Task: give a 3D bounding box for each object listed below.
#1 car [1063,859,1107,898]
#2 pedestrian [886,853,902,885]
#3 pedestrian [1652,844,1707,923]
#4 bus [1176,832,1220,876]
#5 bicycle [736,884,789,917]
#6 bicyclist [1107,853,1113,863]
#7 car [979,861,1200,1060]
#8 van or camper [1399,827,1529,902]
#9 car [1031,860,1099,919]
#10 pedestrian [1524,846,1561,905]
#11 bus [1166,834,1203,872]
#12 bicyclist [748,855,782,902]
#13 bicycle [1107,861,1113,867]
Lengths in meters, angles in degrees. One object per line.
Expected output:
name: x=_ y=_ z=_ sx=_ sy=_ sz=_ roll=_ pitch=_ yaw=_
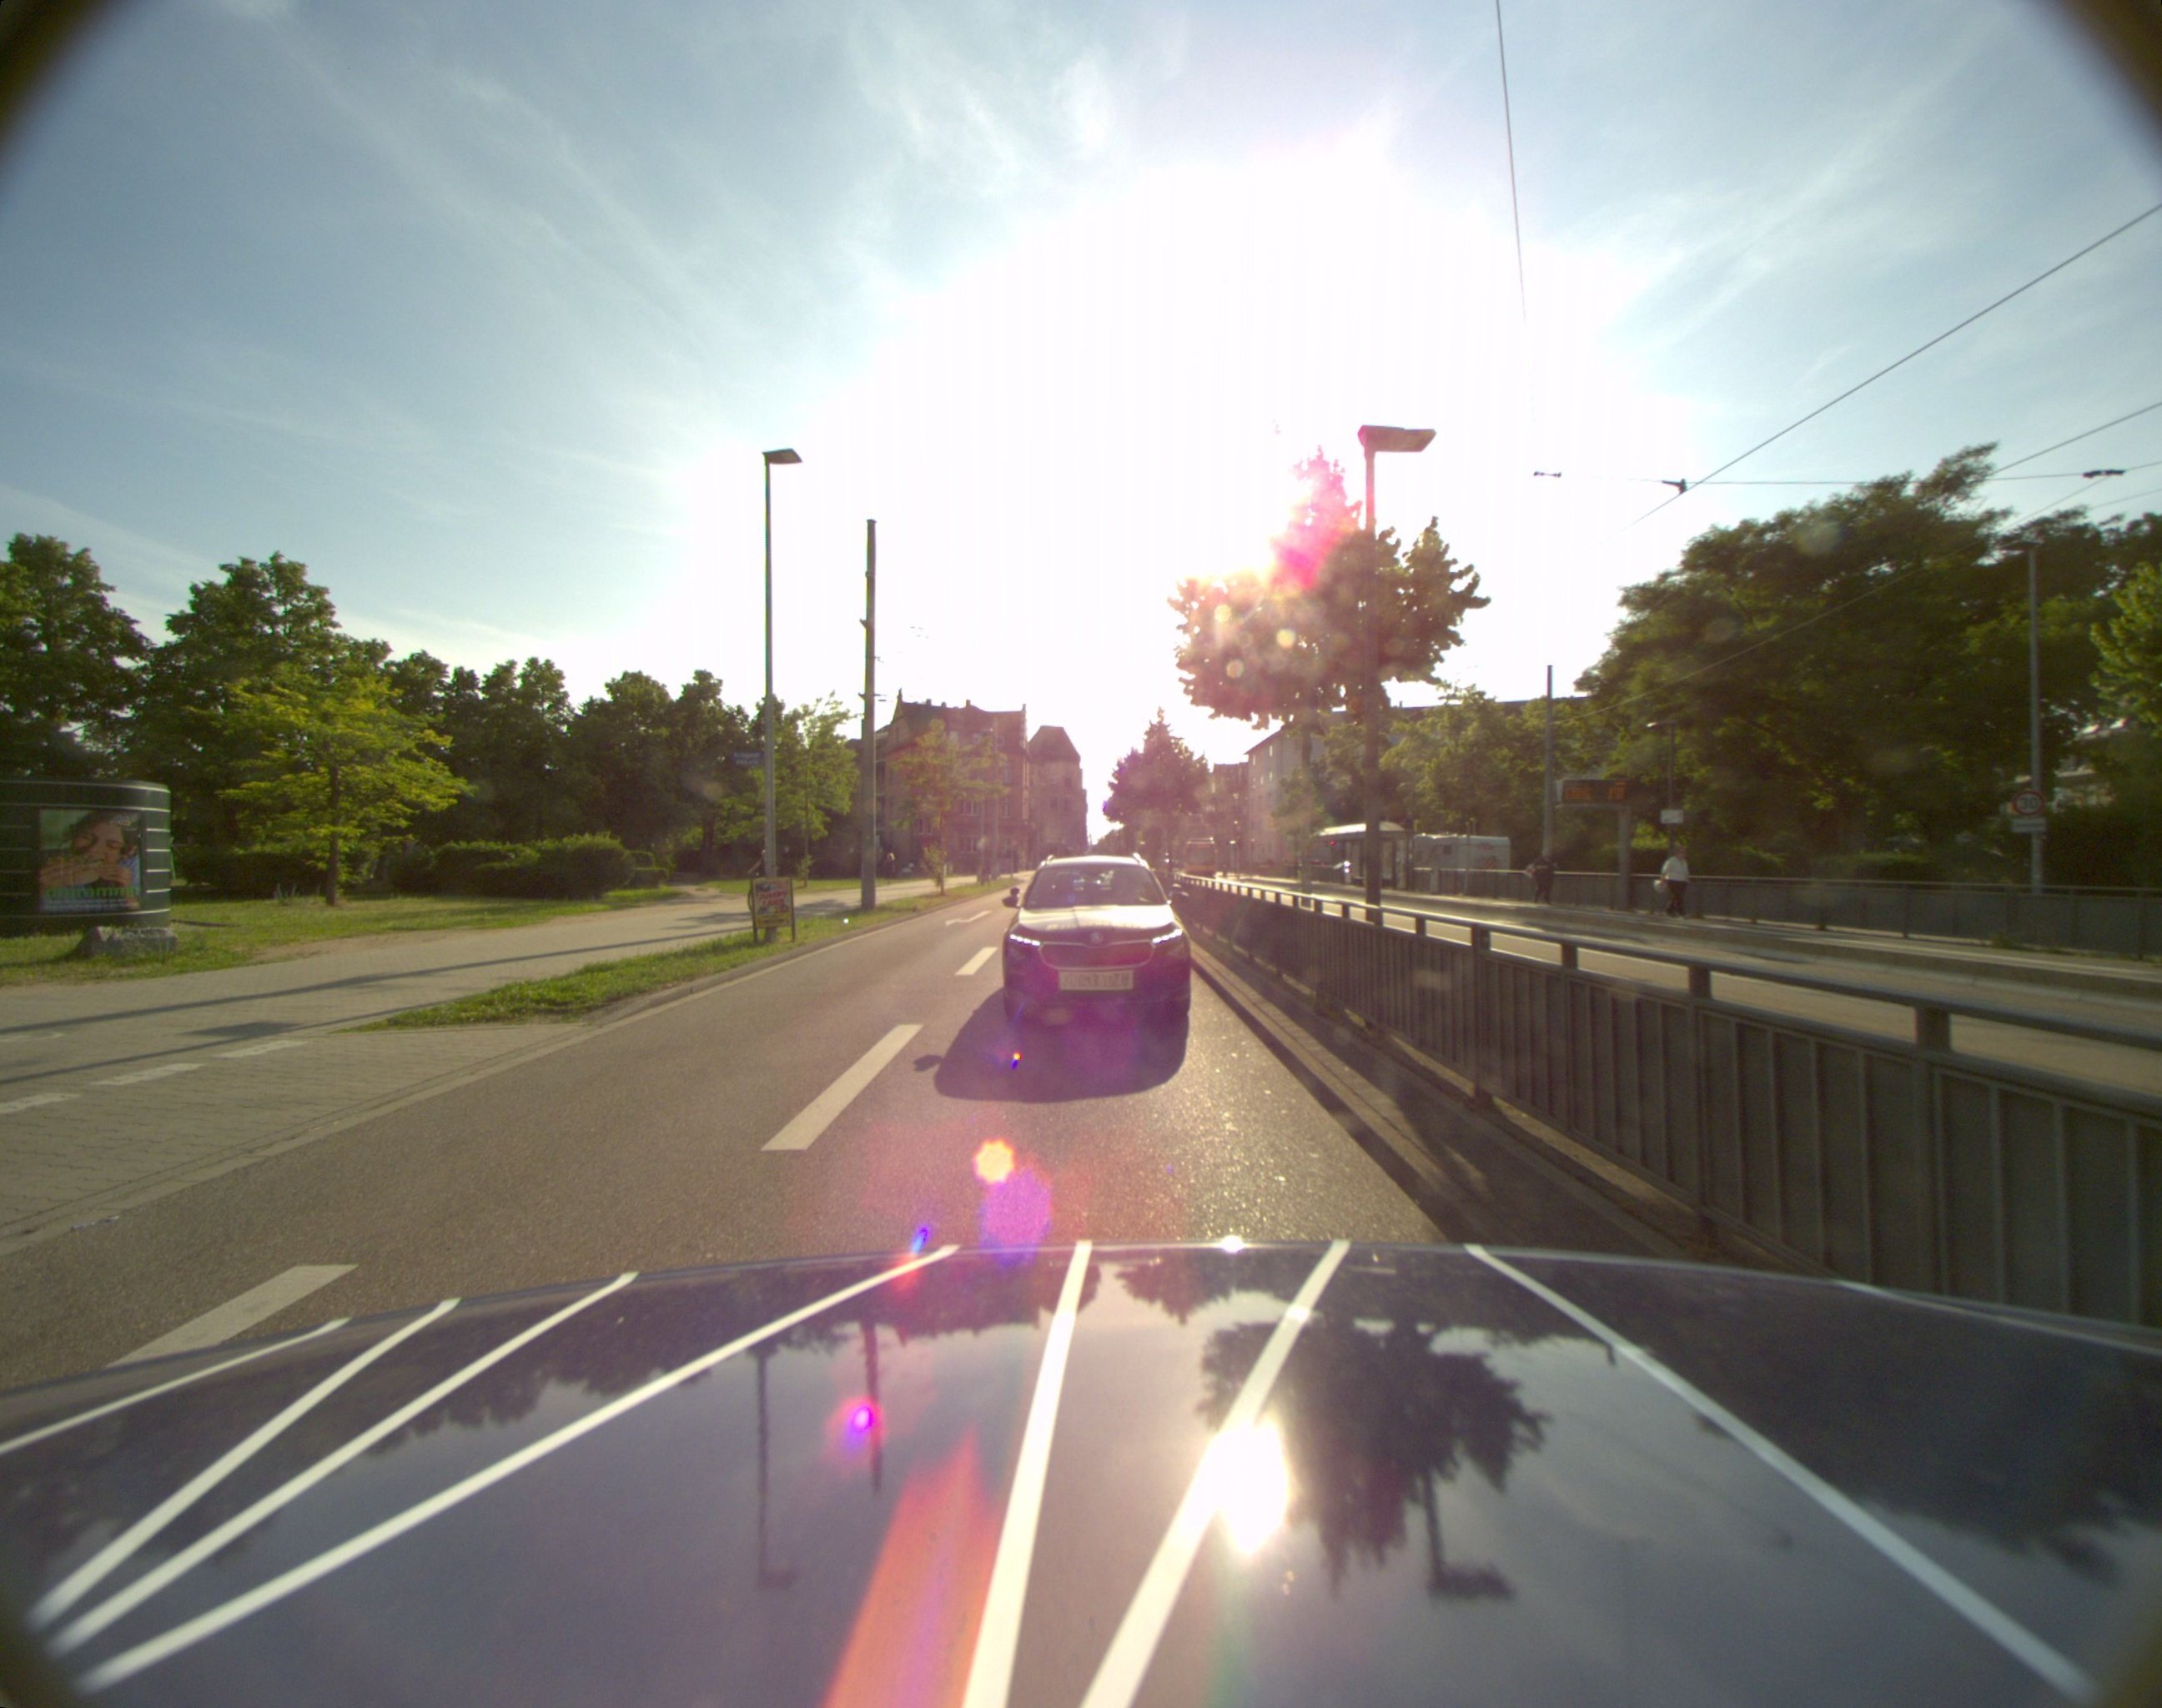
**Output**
car: x=0.205 y=1.033 z=33.376 sx=1.756 sy=1.534 sz=4.235 roll=-2 pitch=0 yaw=1
pedestrian: x=-9.729 y=0.774 z=39.628 sx=0.621 sy=1.675 sz=0.618 roll=-2 pitch=1 yaw=1
pedestrian: x=13.079 y=0.633 z=16.618 sx=0.621 sy=1.675 sz=0.618 roll=3 pitch=1 yaw=1
bus: x=9.997 y=-0.041 z=65.825 sx=2.437 sy=3.415 sz=9.260 roll=-2 pitch=1 yaw=1
bicycle: x=-8.584 y=1.240 z=20.566 sx=0.496 sy=0.753 sz=2.168 roll=1 pitch=0 yaw=1
bicyclist: x=3.950 y=0.533 z=103.725 sx=0.688 sy=1.445 sz=1.112 roll=0 pitch=0 yaw=12
car: x=0.099 y=0.887 z=8.301 sx=1.756 sy=1.534 sz=4.235 roll=-2 pitch=0 yaw=1
van or camper: x=16.695 y=0.384 z=33.646 sx=2.527 sy=2.951 sz=6.410 roll=-2 pitch=1 yaw=1
car: x=-0.383 y=0.949 z=22.073 sx=1.756 sy=1.451 sz=4.235 roll=-2 pitch=0 yaw=1
pedestrian: x=13.465 y=0.611 z=22.174 sx=0.621 sy=1.675 sz=0.618 roll=3 pitch=1 yaw=1
bus: x=10.116 y=-0.154 z=75.095 sx=2.437 sy=3.415 sz=9.260 roll=-2 pitch=1 yaw=1
bicyclist: x=-8.573 y=0.643 z=20.637 sx=0.535 sy=1.255 sz=0.869 roll=0 pitch=1 yaw=1
bicycle: x=3.971 y=1.335 z=103.704 sx=0.566 sy=0.789 sz=2.043 roll=0 pitch=0 yaw=12
